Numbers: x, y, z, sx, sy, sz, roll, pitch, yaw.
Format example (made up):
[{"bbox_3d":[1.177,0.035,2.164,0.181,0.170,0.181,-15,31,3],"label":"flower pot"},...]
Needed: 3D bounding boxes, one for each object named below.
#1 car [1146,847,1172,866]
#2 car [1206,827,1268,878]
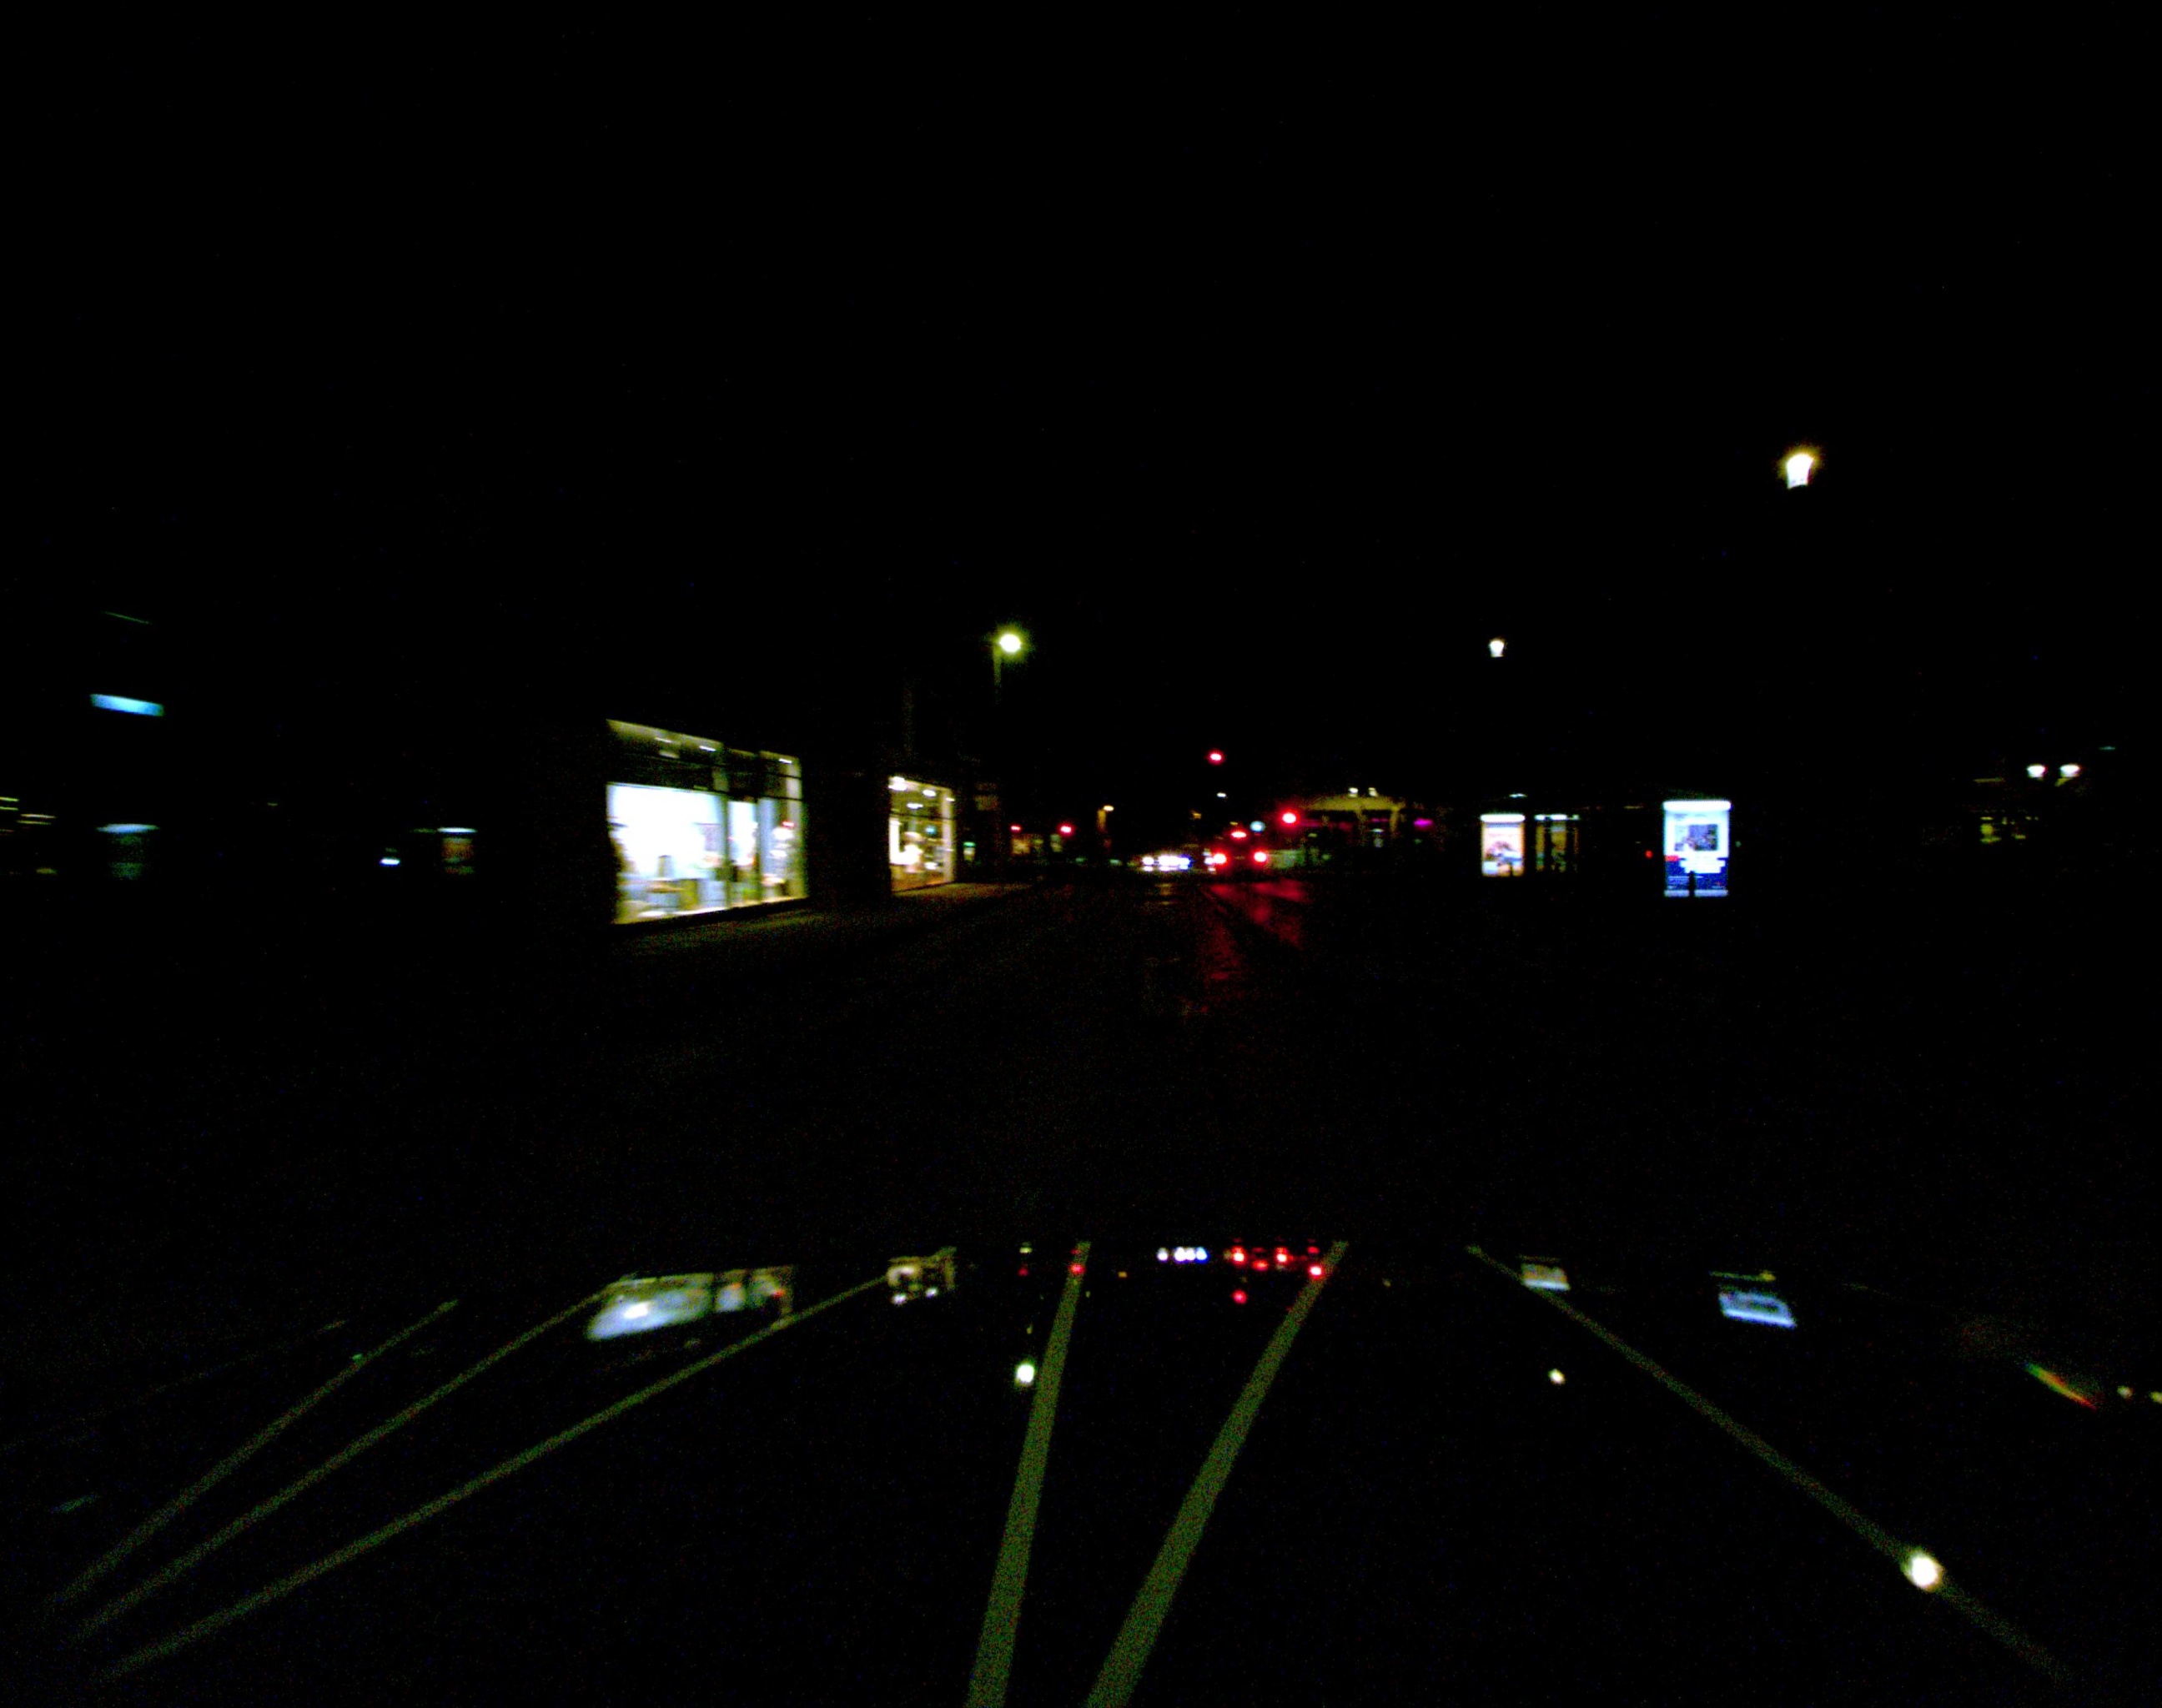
[{"bbox_3d":[6.871,0.212,66.596,1.997,1.562,4.002,-2,1,10],"label":"car"},{"bbox_3d":[6.445,-0.083,31.887,1.958,1.926,4.419,-2,1,5],"label":"car"}]
